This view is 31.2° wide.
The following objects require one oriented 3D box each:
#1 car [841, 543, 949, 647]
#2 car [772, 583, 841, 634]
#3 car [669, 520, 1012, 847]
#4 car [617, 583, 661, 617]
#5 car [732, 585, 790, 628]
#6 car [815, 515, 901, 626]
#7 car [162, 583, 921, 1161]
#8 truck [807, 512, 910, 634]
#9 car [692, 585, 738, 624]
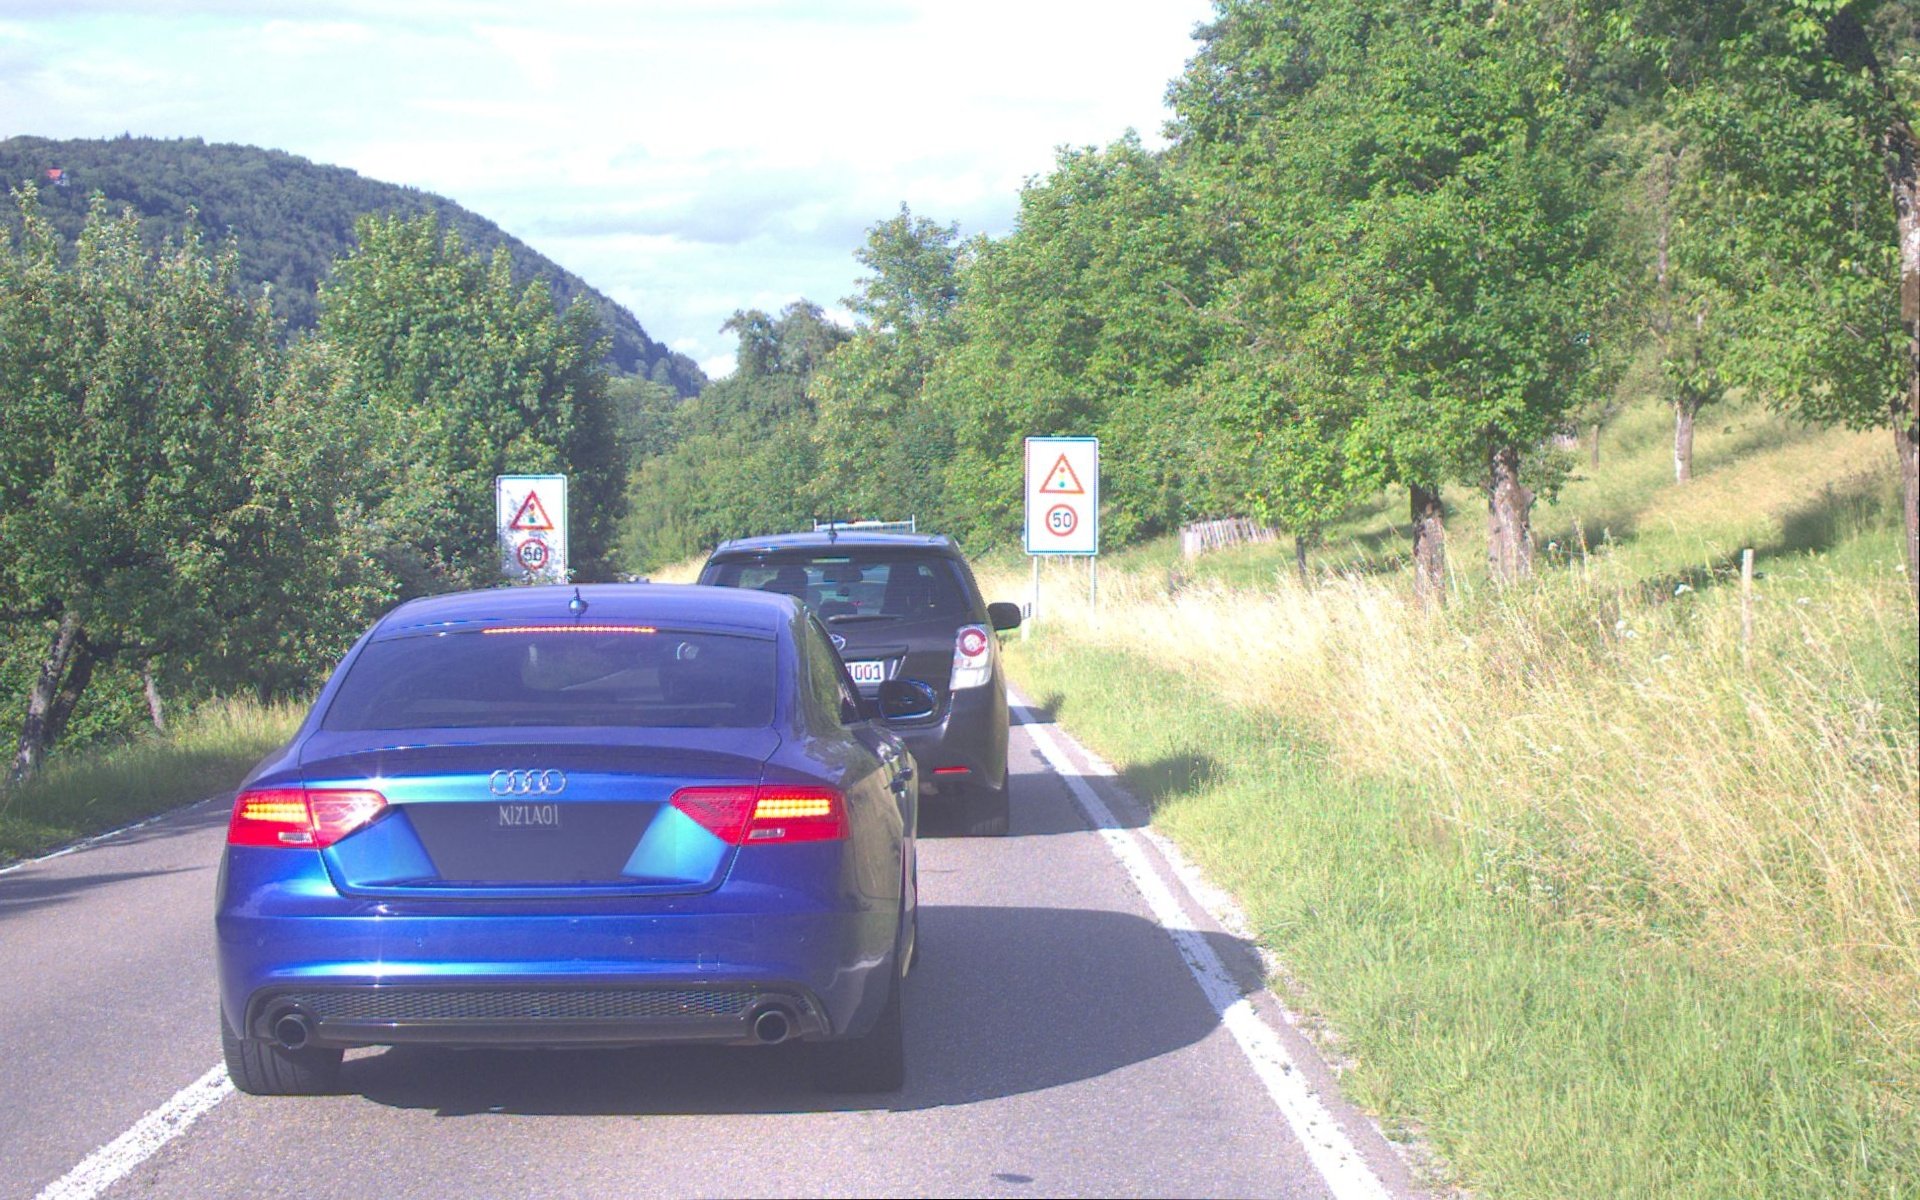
[{"bbox_3d":[-1.051,-0.112,55.923,1.692,1.618,3.789,0,1,-1],"label":"car"},{"bbox_3d":[-4.934,0.260,109.846,1.747,1.490,3.779,1,1,-9],"label":"car"},{"bbox_3d":[-0.624,0.381,18.968,1.692,1.618,3.789,0,1,-1],"label":"car"},{"bbox_3d":[-15.213,-0.012,162.957,1.558,1.490,3.779,1,1,-13],"label":"car"},{"bbox_3d":[-7.427,0.234,128.061,1.747,1.490,3.779,2,1,-9],"label":"car"},{"bbox_3d":[-2.383,-0.699,79.456,1.792,2.445,3.920,2,1,-4],"label":"car"},{"bbox_3d":[-1.030,0.645,10.370,1.805,1.377,4.215,0,0,0],"label":"car"},{"bbox_3d":[-2.055,-0.560,69.630,1.950,2.337,5.094,2,1,-2],"label":"truck"},{"bbox_3d":[-10.199,0.171,142.797,1.558,1.490,3.779,1,1,-9],"label":"car"}]
